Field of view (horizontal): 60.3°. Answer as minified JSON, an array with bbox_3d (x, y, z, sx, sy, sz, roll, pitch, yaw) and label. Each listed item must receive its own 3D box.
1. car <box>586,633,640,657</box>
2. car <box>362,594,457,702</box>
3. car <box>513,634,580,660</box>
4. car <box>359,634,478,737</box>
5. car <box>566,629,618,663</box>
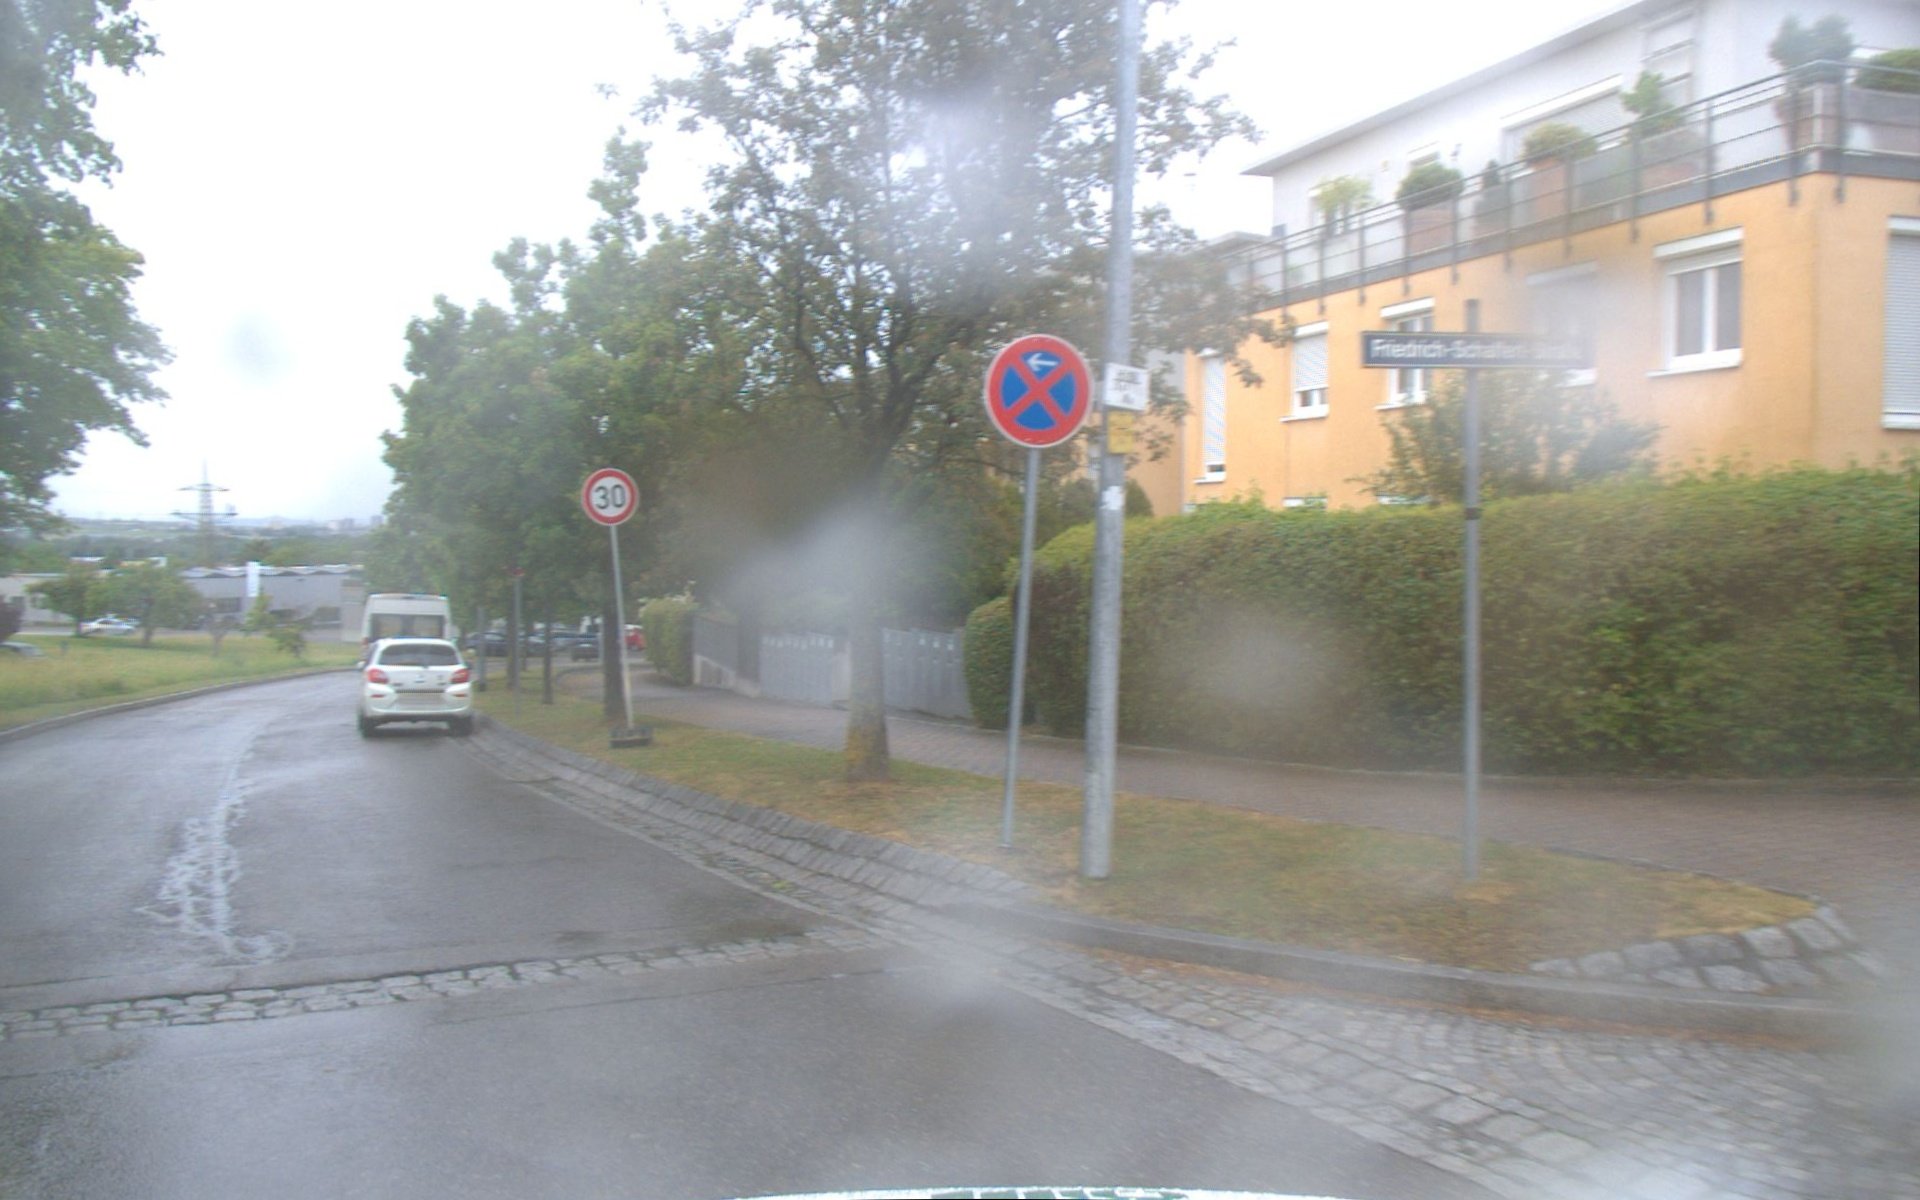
[{"bbox_3d":[-24.737,3.198,117.972,3.488,1.634,1.693,-2,-1,1],"label":"car"},{"bbox_3d":[-13.634,1.180,41.131,2.085,2.511,5.482,0,-2,-18],"label":"car"},{"bbox_3d":[-26.145,2.979,104.713,3.792,1.574,1.772,0,-1,-2],"label":"car"},{"bbox_3d":[-8.729,1.317,26.525,1.583,1.529,3.701,1,-2,-22],"label":"car"},{"bbox_3d":[-18.895,2.343,85.036,1.651,1.579,3.699,1,0,3],"label":"car"}]
